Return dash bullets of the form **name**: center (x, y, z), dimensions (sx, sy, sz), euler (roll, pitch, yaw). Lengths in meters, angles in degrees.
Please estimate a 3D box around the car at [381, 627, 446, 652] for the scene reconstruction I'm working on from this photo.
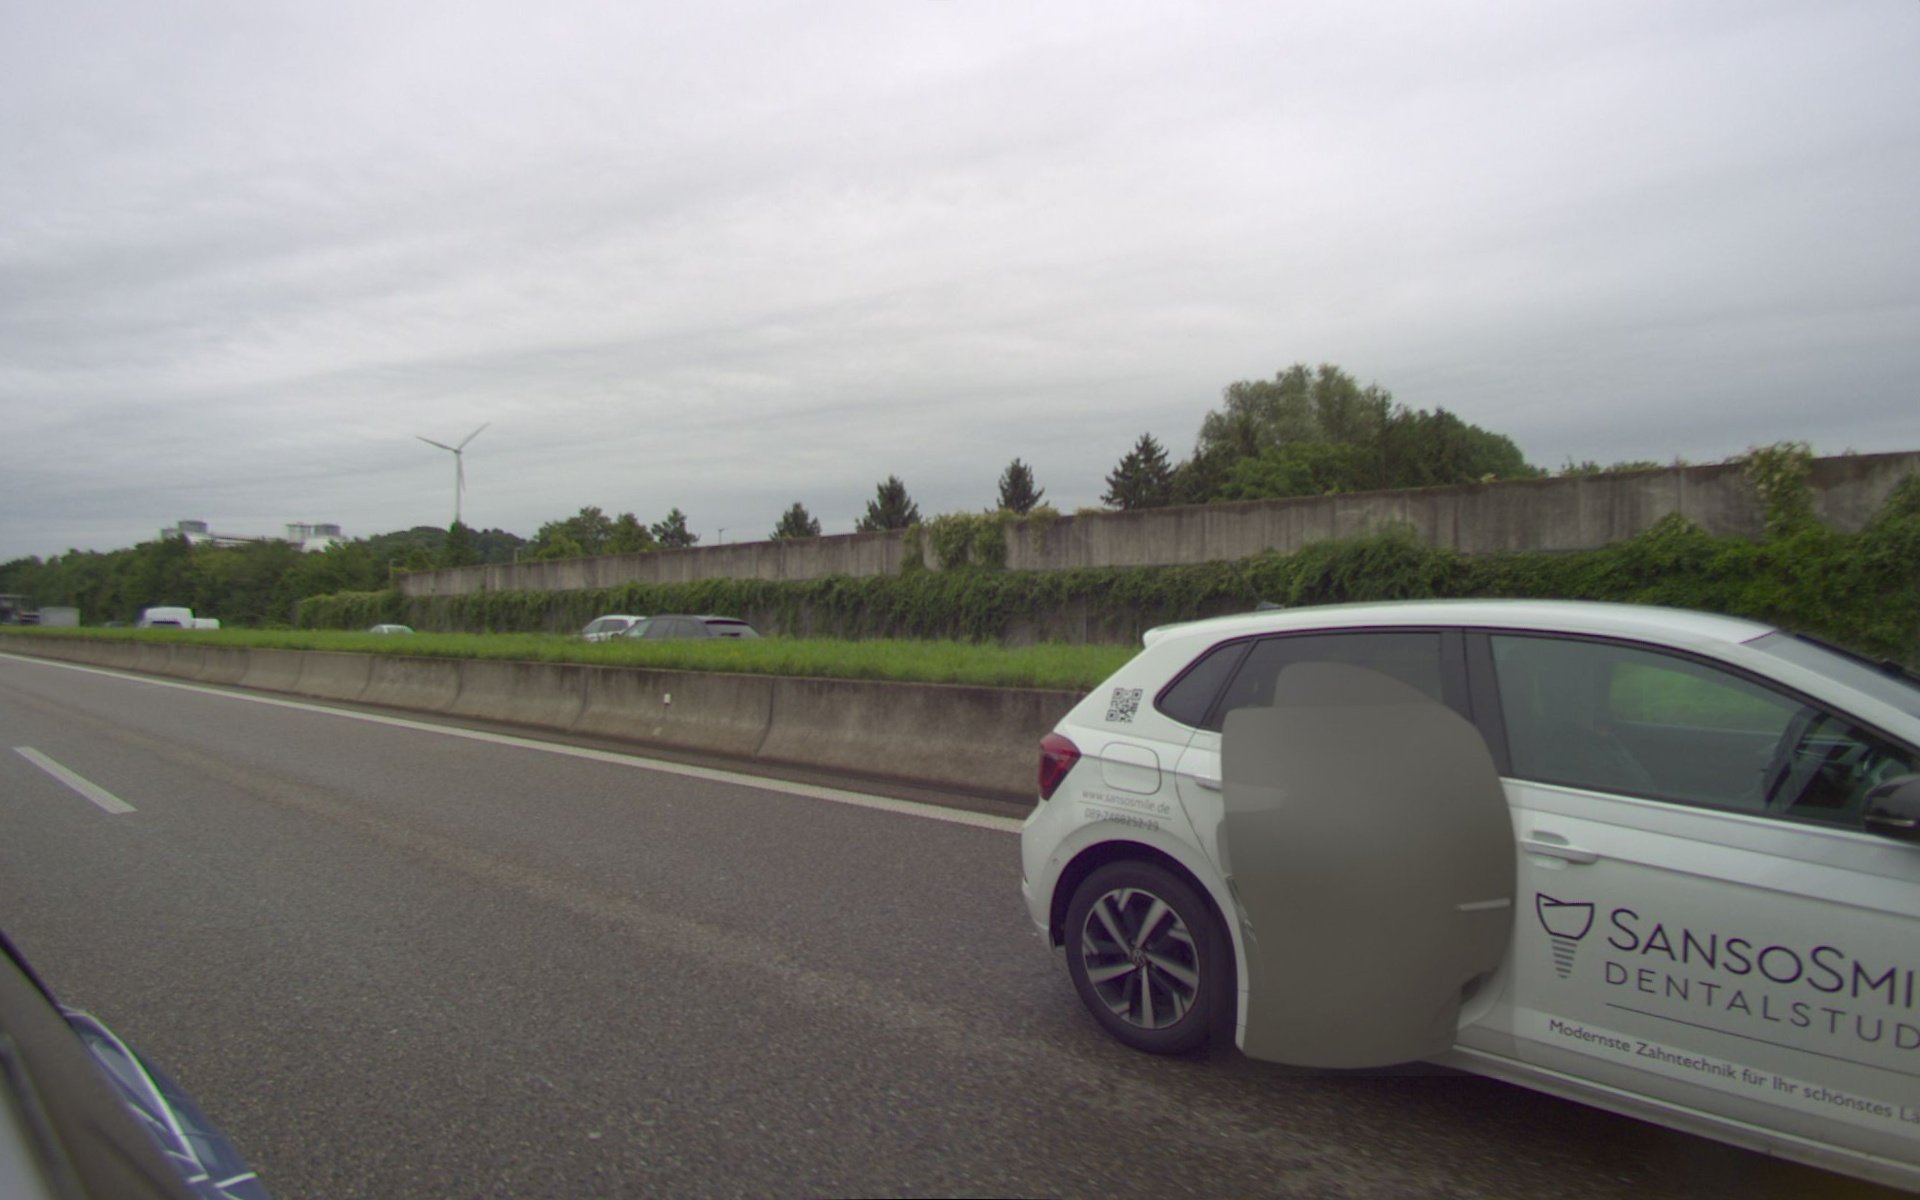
- **car**: center (-26.327, 1.888, 48.733), dimensions (3.271, 1.104, 1.589), euler (-1, -1, 38)

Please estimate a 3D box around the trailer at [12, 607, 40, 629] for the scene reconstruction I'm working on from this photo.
- **trailer**: center (-150.822, 2.898, 163.364), dimensions (10.560, 3.314, 2.282), euler (-1, 0, 42)

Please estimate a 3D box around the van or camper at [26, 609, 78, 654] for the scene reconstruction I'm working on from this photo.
- **van or camper**: center (-85.598, 2.908, 95.366), dimensions (8.398, 3.978, 2.680), euler (-1, 0, 41)

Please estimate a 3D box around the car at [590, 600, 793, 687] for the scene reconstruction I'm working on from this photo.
- **car**: center (-5.510, 0.830, 20.543), dimensions (4.222, 1.555, 1.973), euler (-1, 0, 41)

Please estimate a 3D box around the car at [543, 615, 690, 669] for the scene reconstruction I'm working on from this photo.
- **car**: center (-10.335, 1.203, 30.228), dimensions (4.932, 1.465, 1.973), euler (-1, -1, 41)

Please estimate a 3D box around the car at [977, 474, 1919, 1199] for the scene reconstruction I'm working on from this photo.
- **car**: center (2.382, 0.577, 2.717), dimensions (4.661, 1.630, 1.735), euler (-1, -2, 41)

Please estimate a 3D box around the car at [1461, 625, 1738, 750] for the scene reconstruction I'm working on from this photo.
- **car**: center (12.114, 1.536, 19.306), dimensions (4.222, 2.029, 1.973), euler (-1, 0, 41)

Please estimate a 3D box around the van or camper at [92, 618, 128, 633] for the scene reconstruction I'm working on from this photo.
- **van or camper**: center (-109.271, 3.292, 130.041), dimensions (8.431, 1.814, 2.169), euler (-1, 0, 41)

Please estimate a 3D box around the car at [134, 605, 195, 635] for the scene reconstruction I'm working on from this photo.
- **car**: center (-54.421, 1.331, 69.168), dimensions (6.531, 1.926, 2.104), euler (-1, 0, 42)

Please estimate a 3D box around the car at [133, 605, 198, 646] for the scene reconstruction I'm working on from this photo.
- **car**: center (-41.839, 1.295, 53.249), dimensions (4.468, 2.029, 1.903), euler (-1, 0, 41)

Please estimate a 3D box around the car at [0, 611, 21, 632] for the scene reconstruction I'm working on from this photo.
- **car**: center (-95.060, 2.177, 100.882), dimensions (3.999, 2.029, 1.749), euler (-1, 0, 42)

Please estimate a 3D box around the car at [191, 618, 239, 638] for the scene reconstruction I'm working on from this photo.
- **car**: center (-53.782, 2.039, 73.041), dimensions (4.524, 1.354, 1.860), euler (-1, -1, 41)
